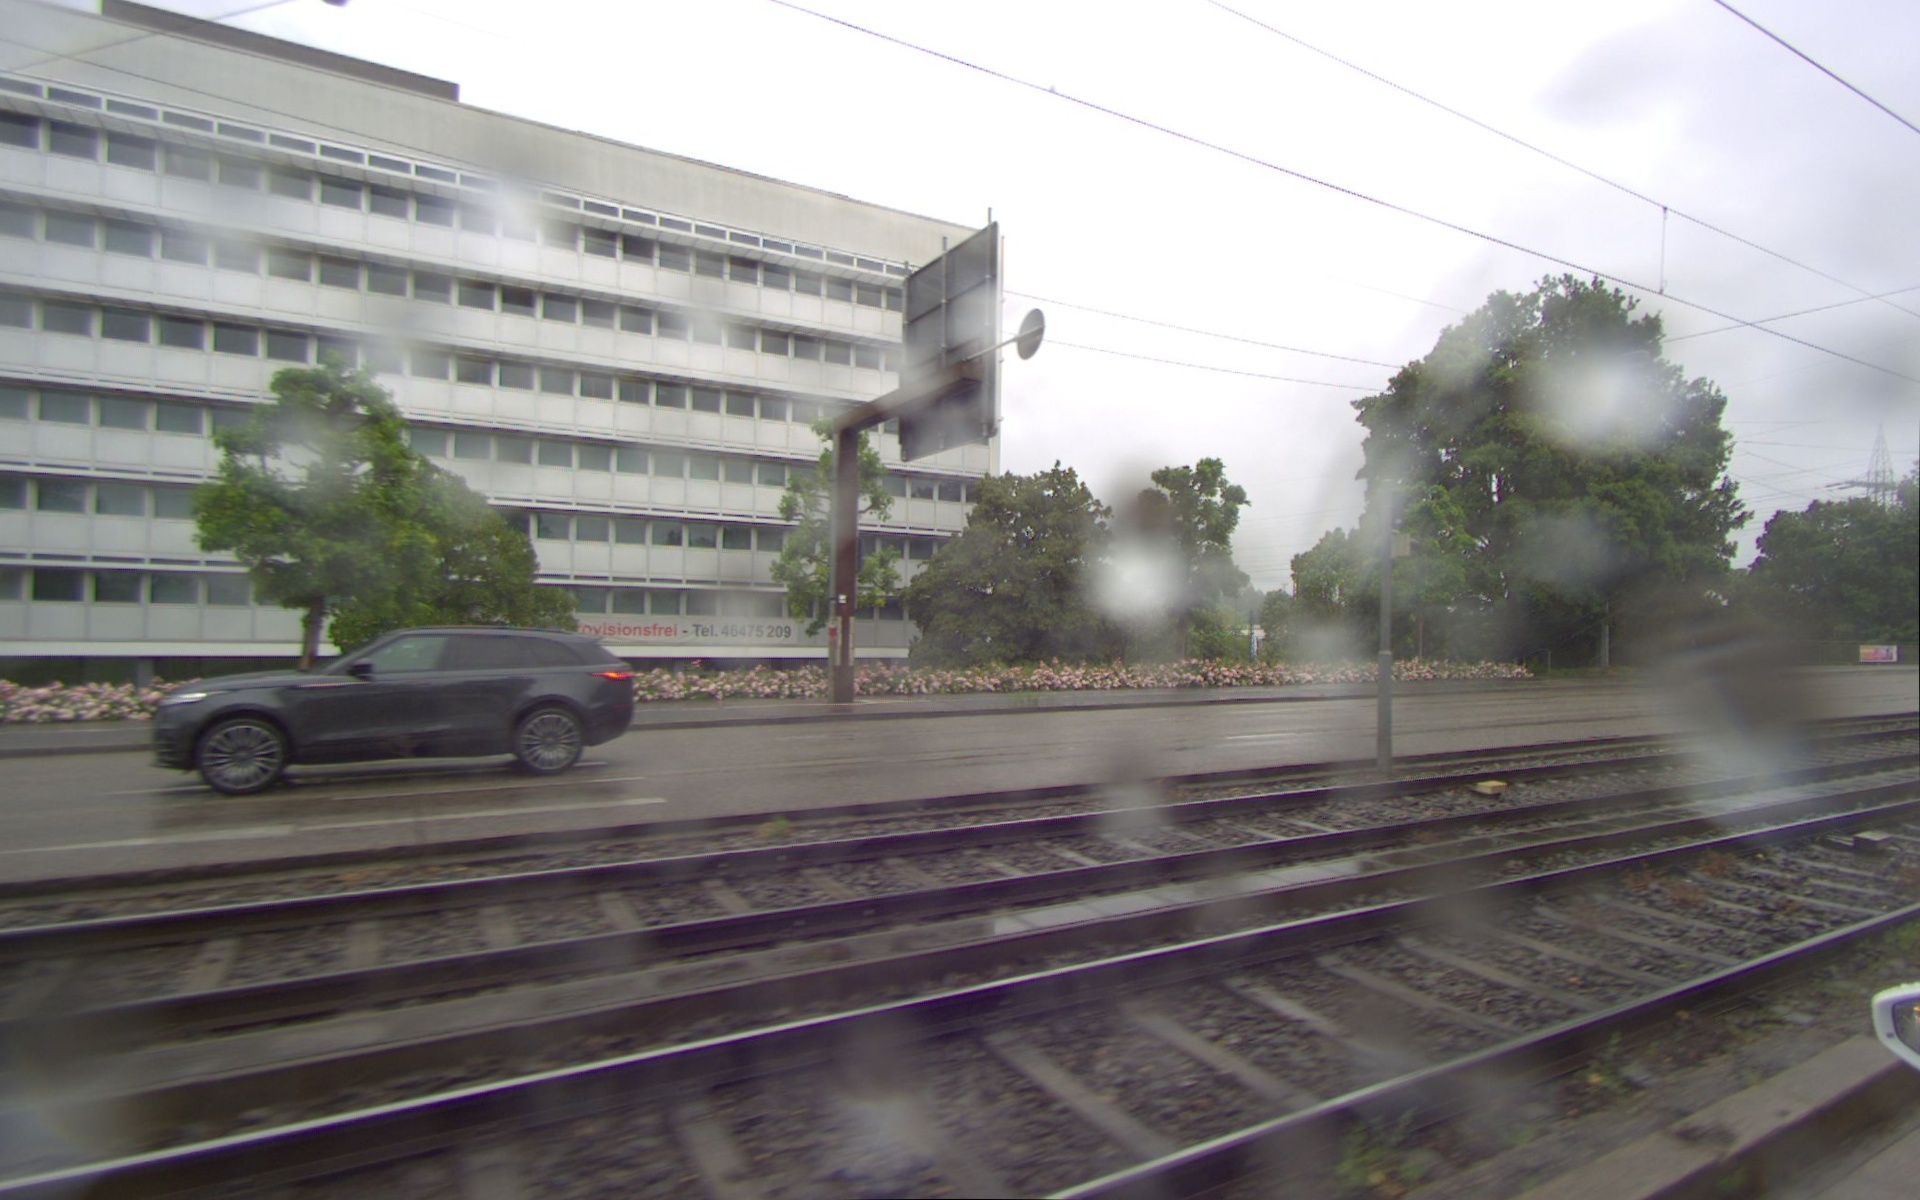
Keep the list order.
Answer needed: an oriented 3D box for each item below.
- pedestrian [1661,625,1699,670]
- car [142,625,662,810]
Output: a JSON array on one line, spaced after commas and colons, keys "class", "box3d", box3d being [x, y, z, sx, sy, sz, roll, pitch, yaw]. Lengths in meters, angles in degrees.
[{"class": "pedestrian", "box3d": [29.045, 1.897, 40.522, 1.107, 1.782, 0.848, 1, -2, -30]}, {"class": "car", "box3d": [-6.109, 1.172, 11.561, 4.824, 1.744, 1.984, 1, -2, -30]}]
